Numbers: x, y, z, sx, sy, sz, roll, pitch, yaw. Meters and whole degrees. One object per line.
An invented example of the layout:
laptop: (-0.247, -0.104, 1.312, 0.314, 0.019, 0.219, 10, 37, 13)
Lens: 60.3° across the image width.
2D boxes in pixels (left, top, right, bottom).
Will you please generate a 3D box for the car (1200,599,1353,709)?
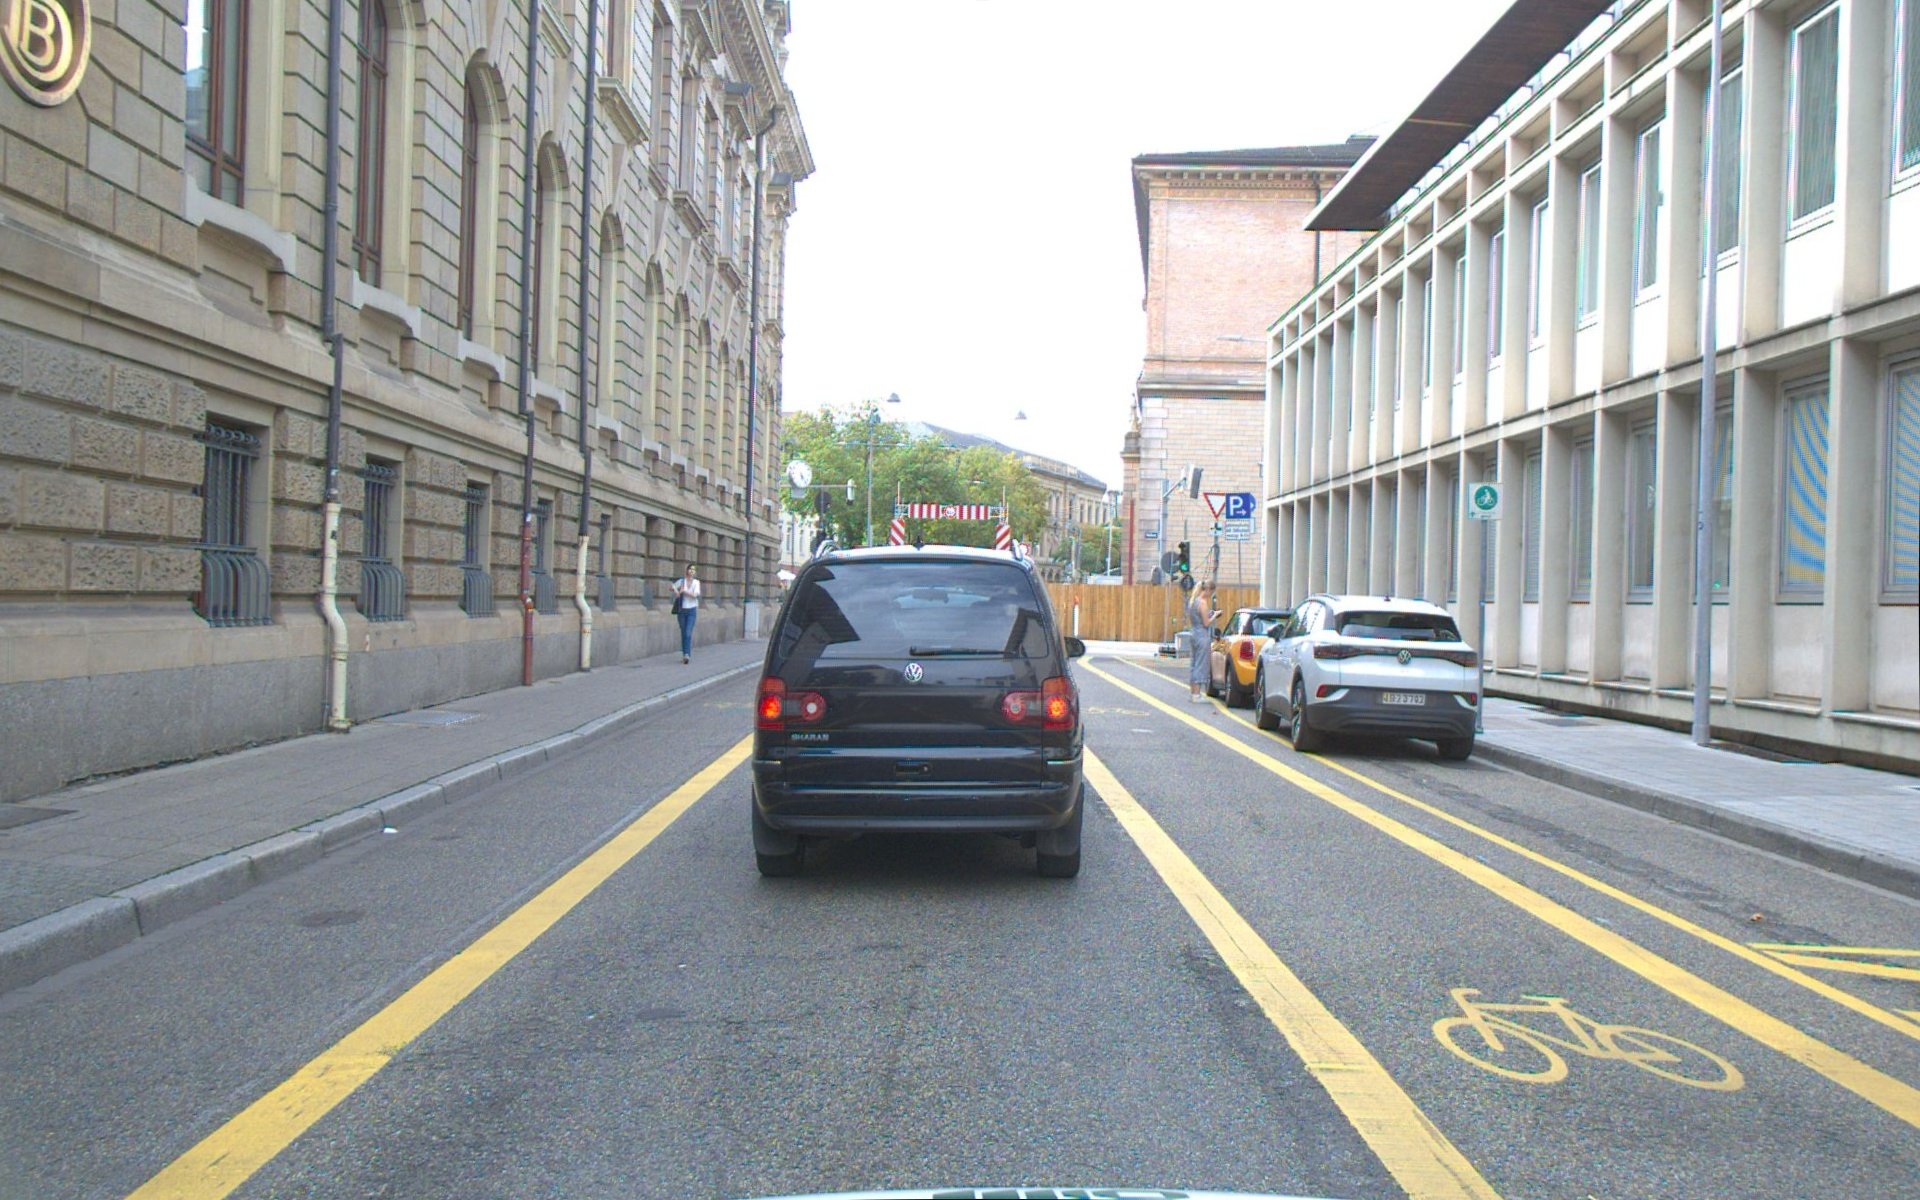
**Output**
car: (4.708, 0.762, 25.078, 1.645, 1.460, 3.887, 3, 0, 2)

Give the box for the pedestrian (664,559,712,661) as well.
pedestrian: (-5.065, 0.187, 30.843, 0.650, 1.851, 1.048, 3, -1, -1)

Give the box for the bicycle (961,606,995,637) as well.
bicycle: (0.613, 0.744, 57.381, 0.722, 1.026, 2.062, 1, 0, -12)

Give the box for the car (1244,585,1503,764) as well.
car: (4.458, 0.743, 18.558, 1.822, 1.633, 4.513, 4, 0, 2)

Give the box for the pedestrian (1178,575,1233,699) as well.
pedestrian: (3.646, 0.543, 24.583, 0.683, 1.794, 0.706, 1, -1, 0)

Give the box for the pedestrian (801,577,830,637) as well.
pedestrian: (-4.588, 0.214, 52.533, 0.776, 1.851, 1.048, 3, -1, -1)

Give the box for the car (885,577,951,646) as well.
car: (-1.236, 0.315, 47.234, 1.700, 1.821, 4.100, 2, 0, -4)

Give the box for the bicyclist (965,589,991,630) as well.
bicyclist: (0.625, 0.317, 57.365, 0.722, 1.399, 0.829, 1, -1, -11)

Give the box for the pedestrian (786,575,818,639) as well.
pedestrian: (-4.710, 0.218, 49.462, 0.776, 1.851, 1.048, 3, -1, -1)

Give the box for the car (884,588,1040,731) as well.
car: (0.093, 0.654, 19.963, 1.643, 1.495, 4.104, 2, 0, 2)

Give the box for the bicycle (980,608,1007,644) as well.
bicycle: (0.967, 0.755, 48.469, 0.720, 1.026, 2.068, 1, 0, -1)

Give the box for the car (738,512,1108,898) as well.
car: (-0.105, 0.506, 9.883, 1.752, 1.821, 4.104, 0, 0, 2)

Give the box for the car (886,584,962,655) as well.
car: (-0.867, 0.463, 40.227, 1.737, 1.613, 3.999, 1, 0, -1)
